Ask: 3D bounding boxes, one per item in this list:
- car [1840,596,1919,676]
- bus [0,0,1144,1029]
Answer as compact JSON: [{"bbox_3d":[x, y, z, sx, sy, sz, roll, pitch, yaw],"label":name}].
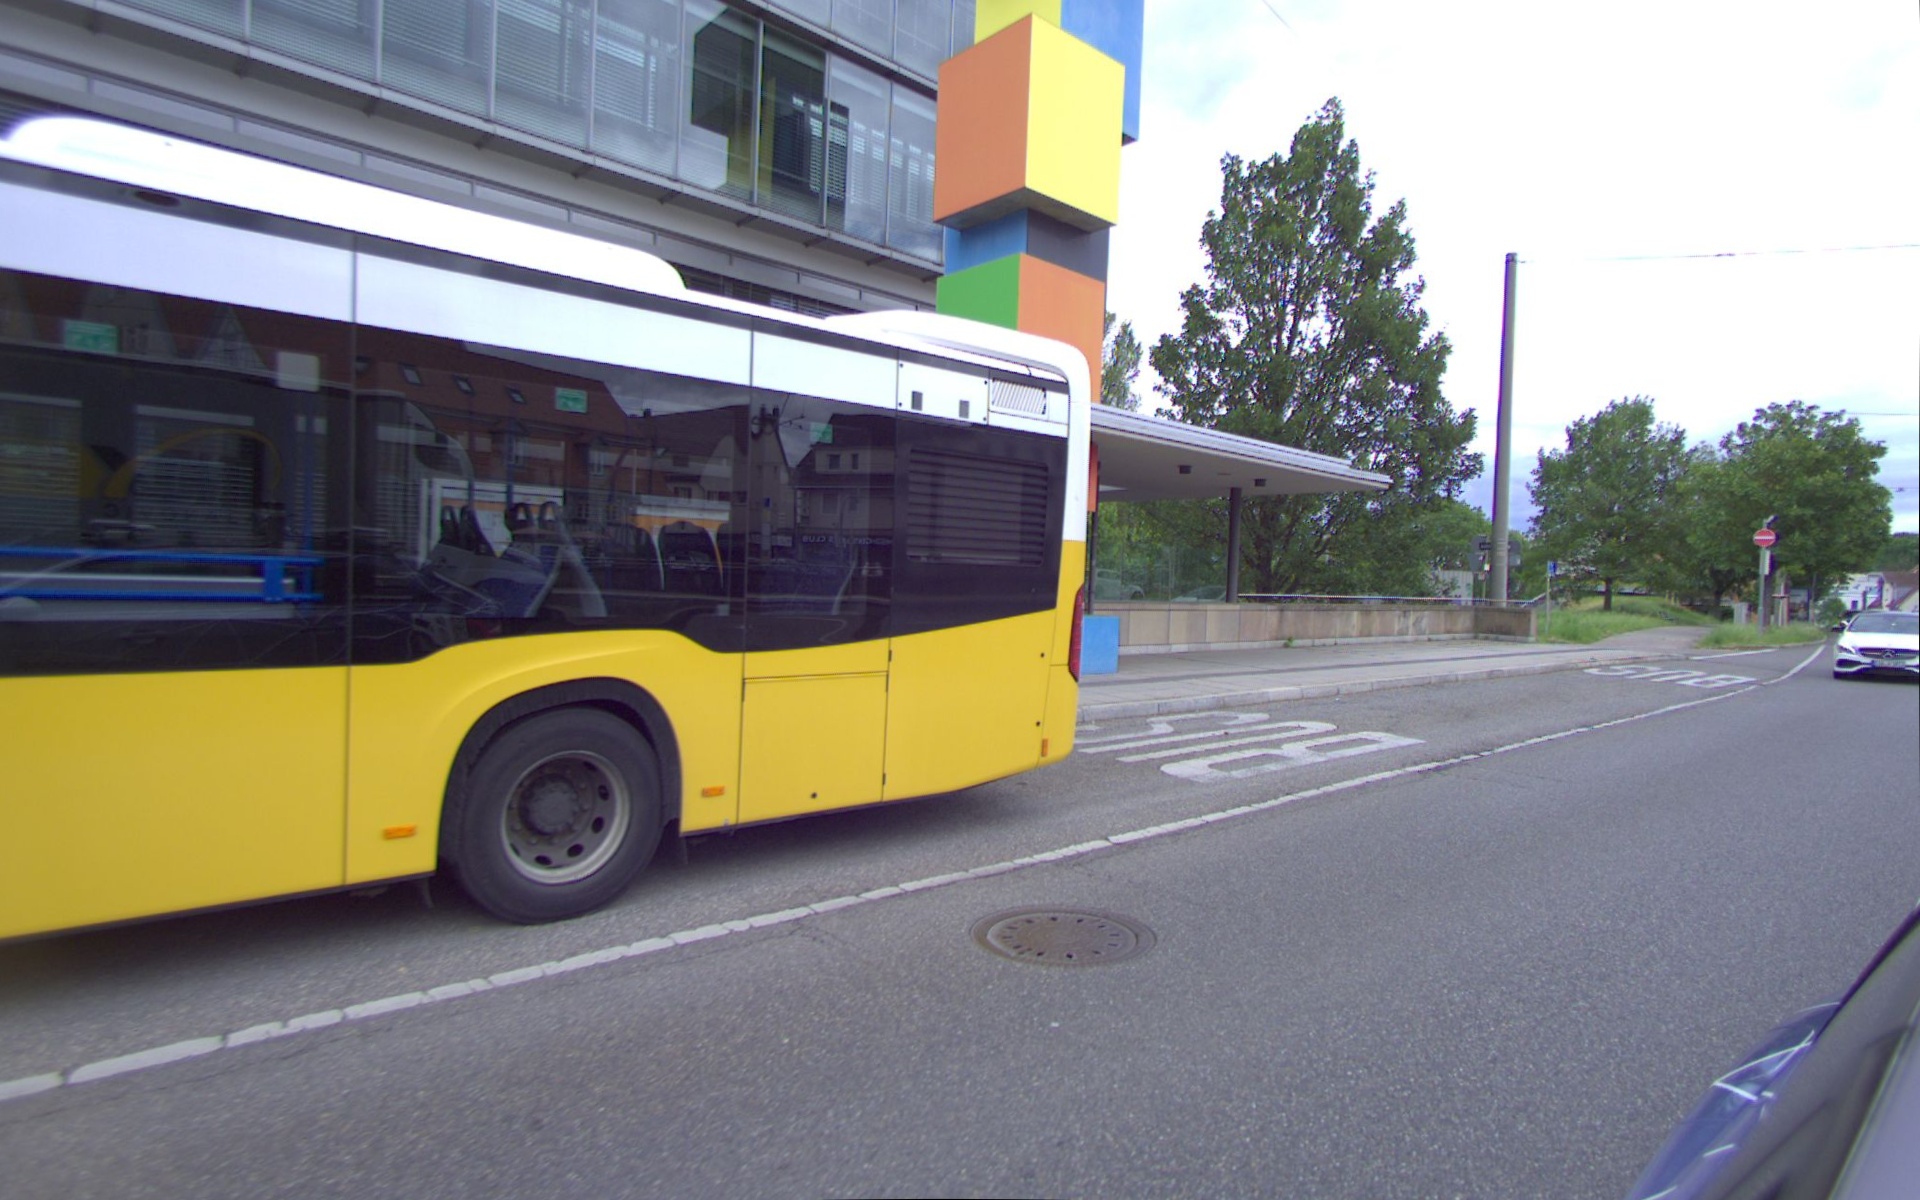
[{"bbox_3d":[20.361,0.718,21.958,1.867,1.524,4.702,3,2,41],"label":"car"},{"bbox_3d":[-3.307,-0.387,4.780,9.173,3.275,3.043,0,3,-41],"label":"bus"}]
